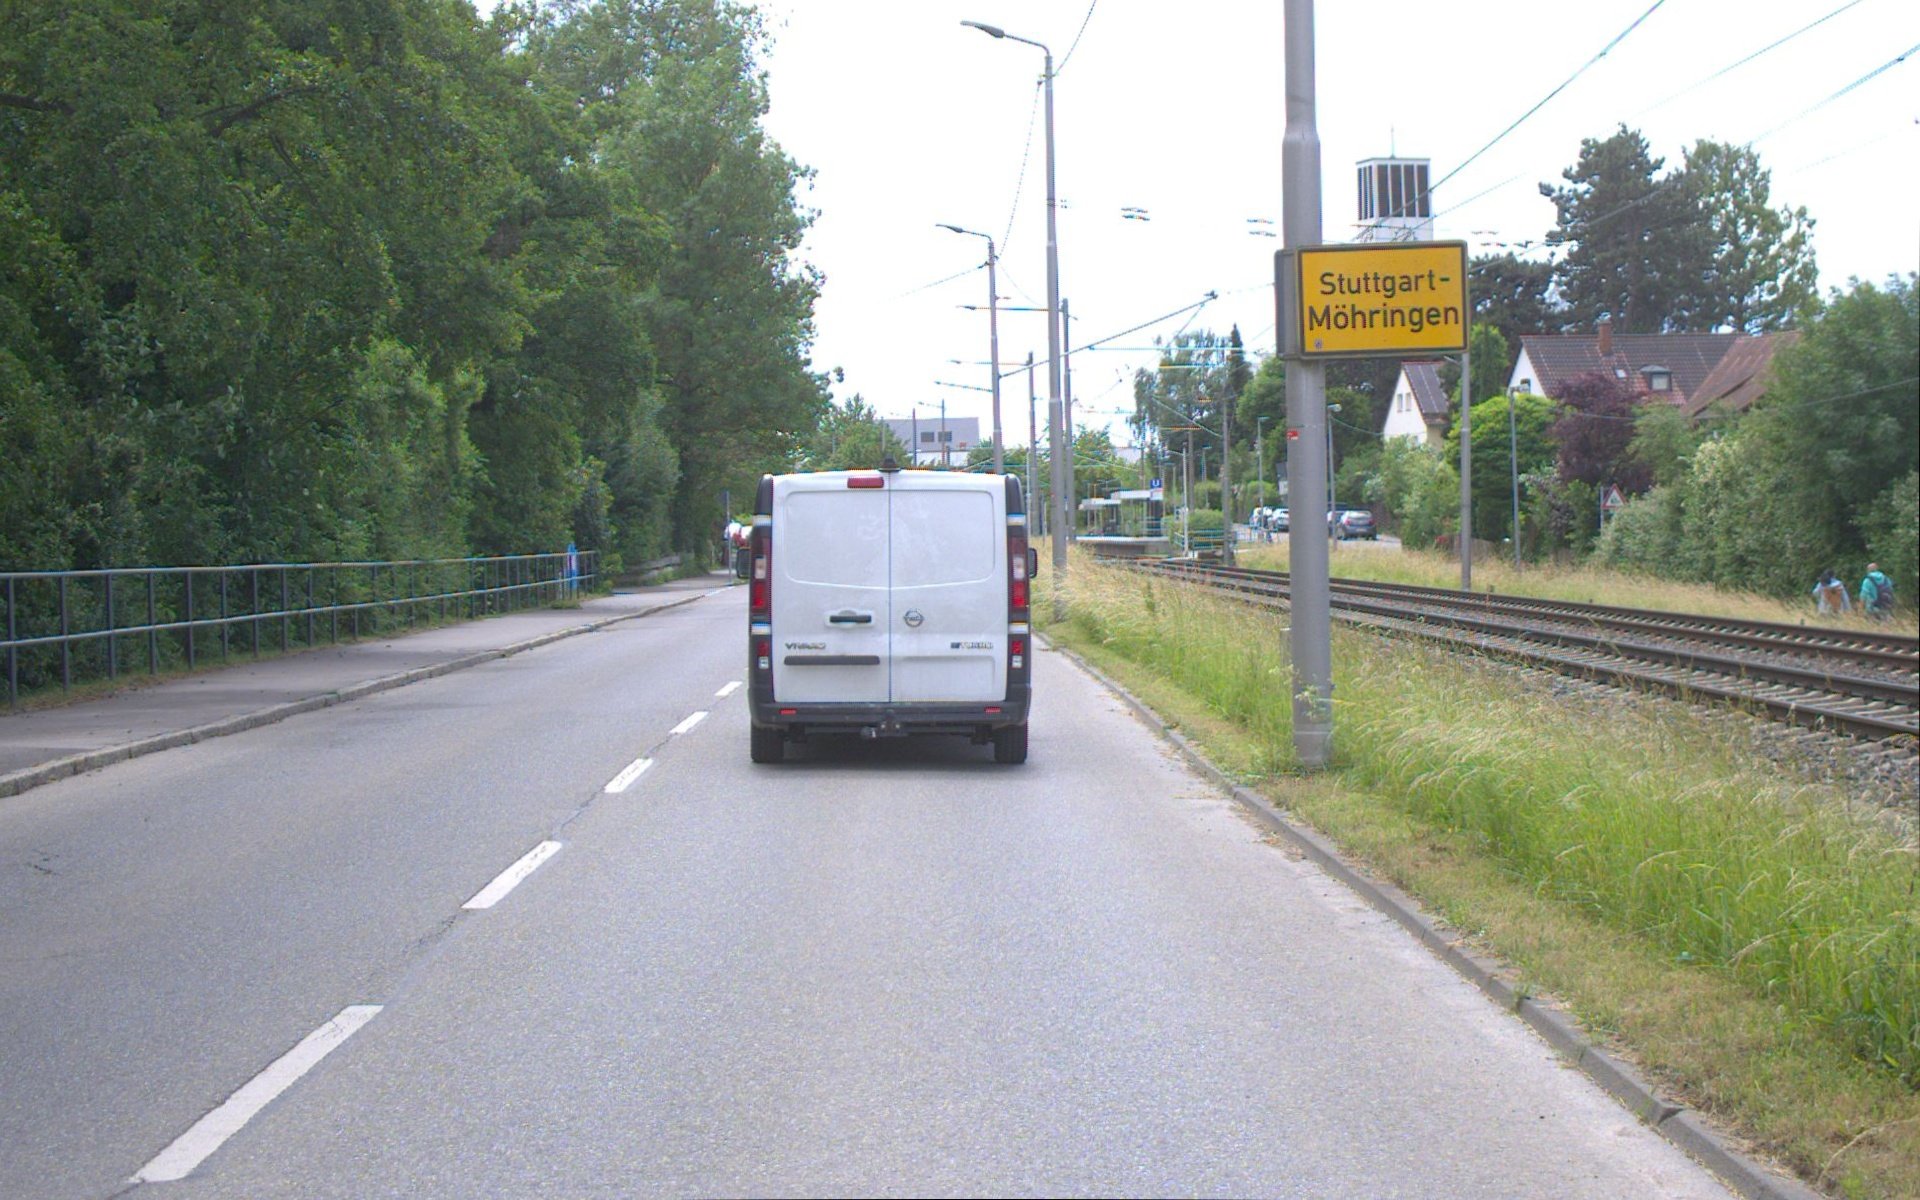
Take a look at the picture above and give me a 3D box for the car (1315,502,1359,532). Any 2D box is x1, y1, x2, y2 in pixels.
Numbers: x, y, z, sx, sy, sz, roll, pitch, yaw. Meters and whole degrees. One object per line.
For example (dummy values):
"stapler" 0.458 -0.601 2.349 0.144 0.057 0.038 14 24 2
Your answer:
"car" 20.049 -4.414 182.851 1.883 1.517 4.000 -1 1 0

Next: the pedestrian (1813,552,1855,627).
"pedestrian" 16.897 -0.206 66.473 0.598 1.425 0.666 1 1 0

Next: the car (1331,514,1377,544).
"car" 20.241 -3.648 176.786 1.883 1.517 4.000 -1 1 0

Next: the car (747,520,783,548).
"car" -11.290 -3.849 198.827 1.736 1.499 4.479 -3 2 -7

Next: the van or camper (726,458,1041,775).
"van or camper" -0.508 0.067 24.081 1.993 2.007 4.446 0 1 -1

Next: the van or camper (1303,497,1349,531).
"van or camper" 19.962 -4.688 187.568 1.905 1.819 5.048 -1 1 0

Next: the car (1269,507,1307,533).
"car" 19.958 -4.889 209.277 1.883 1.517 4.000 -1 1 0

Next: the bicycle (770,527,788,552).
"bicycle" -9.146 -3.043 173.614 0.755 1.222 2.308 -3 1 -1

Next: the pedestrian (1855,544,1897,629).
"pedestrian" 17.714 -0.263 66.465 0.616 1.616 0.584 1 1 0

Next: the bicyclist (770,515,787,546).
"bicyclist" -9.157 -3.496 173.709 0.778 1.544 0.870 -1 1 -1

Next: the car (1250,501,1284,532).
"car" 19.428 -5.269 217.828 1.732 1.907 3.935 1 1 -1
